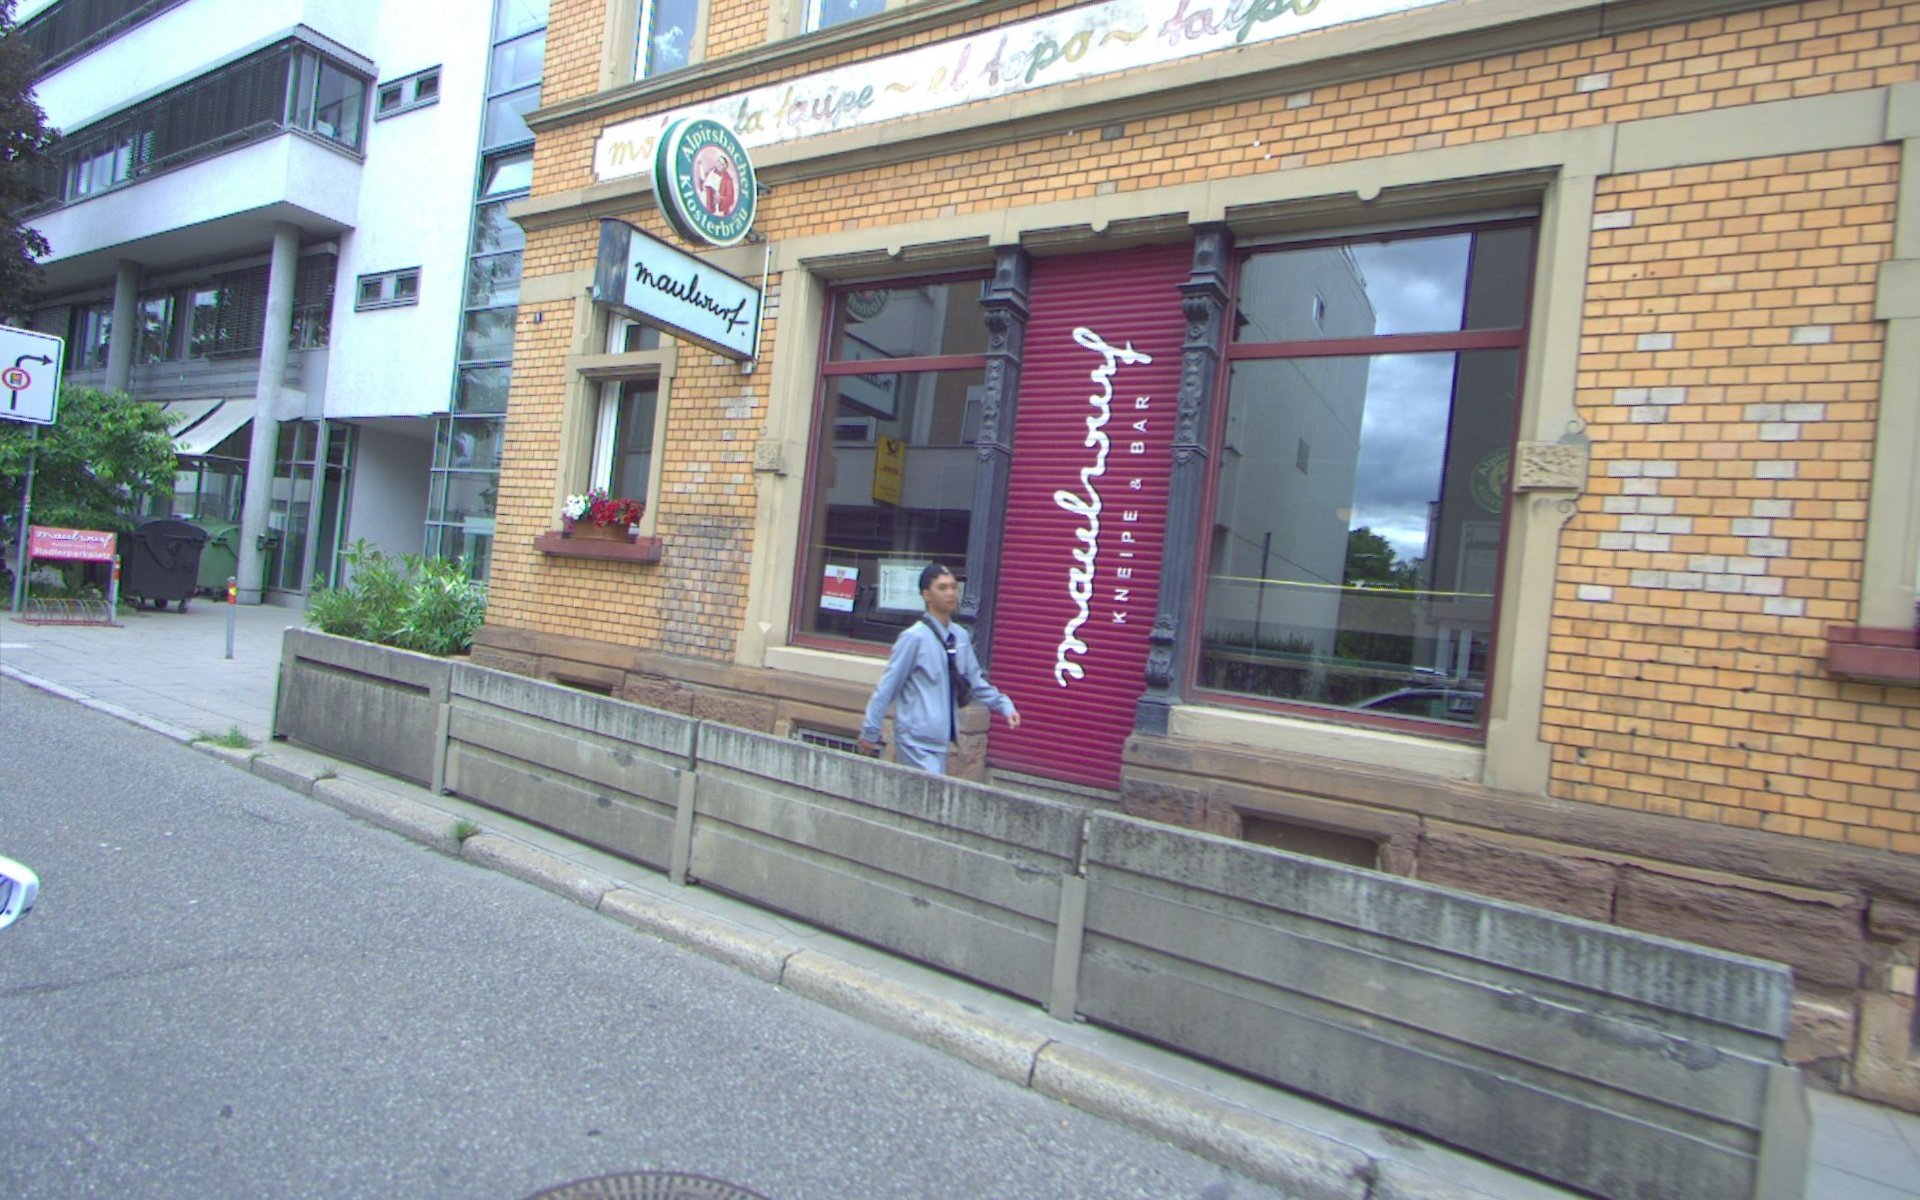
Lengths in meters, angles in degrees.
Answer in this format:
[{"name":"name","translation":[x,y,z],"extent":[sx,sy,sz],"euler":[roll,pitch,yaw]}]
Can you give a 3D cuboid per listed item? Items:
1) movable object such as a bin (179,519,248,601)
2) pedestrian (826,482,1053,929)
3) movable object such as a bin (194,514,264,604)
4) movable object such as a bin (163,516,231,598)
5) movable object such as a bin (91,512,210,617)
[{"name":"movable object such as a bin","translation":[-14.470,-0.769,19.495],"extent":[0.720,1.509,0.821],"euler":[5,2,33]},{"name":"pedestrian","translation":[-0.091,0.491,5.080],"extent":[0.665,2.038,0.694],"euler":[7,0,31]},{"name":"movable object such as a bin","translation":[-13.854,-0.773,19.072],"extent":[0.720,1.610,0.821],"euler":[5,2,33]},{"name":"movable object such as a bin","translation":[-15.093,-0.843,19.898],"extent":[0.720,1.523,0.821],"euler":[5,2,33]},{"name":"movable object such as a bin","translation":[-12.797,-0.561,15.899],"extent":[1.421,1.489,0.944],"euler":[6,1,30]}]
